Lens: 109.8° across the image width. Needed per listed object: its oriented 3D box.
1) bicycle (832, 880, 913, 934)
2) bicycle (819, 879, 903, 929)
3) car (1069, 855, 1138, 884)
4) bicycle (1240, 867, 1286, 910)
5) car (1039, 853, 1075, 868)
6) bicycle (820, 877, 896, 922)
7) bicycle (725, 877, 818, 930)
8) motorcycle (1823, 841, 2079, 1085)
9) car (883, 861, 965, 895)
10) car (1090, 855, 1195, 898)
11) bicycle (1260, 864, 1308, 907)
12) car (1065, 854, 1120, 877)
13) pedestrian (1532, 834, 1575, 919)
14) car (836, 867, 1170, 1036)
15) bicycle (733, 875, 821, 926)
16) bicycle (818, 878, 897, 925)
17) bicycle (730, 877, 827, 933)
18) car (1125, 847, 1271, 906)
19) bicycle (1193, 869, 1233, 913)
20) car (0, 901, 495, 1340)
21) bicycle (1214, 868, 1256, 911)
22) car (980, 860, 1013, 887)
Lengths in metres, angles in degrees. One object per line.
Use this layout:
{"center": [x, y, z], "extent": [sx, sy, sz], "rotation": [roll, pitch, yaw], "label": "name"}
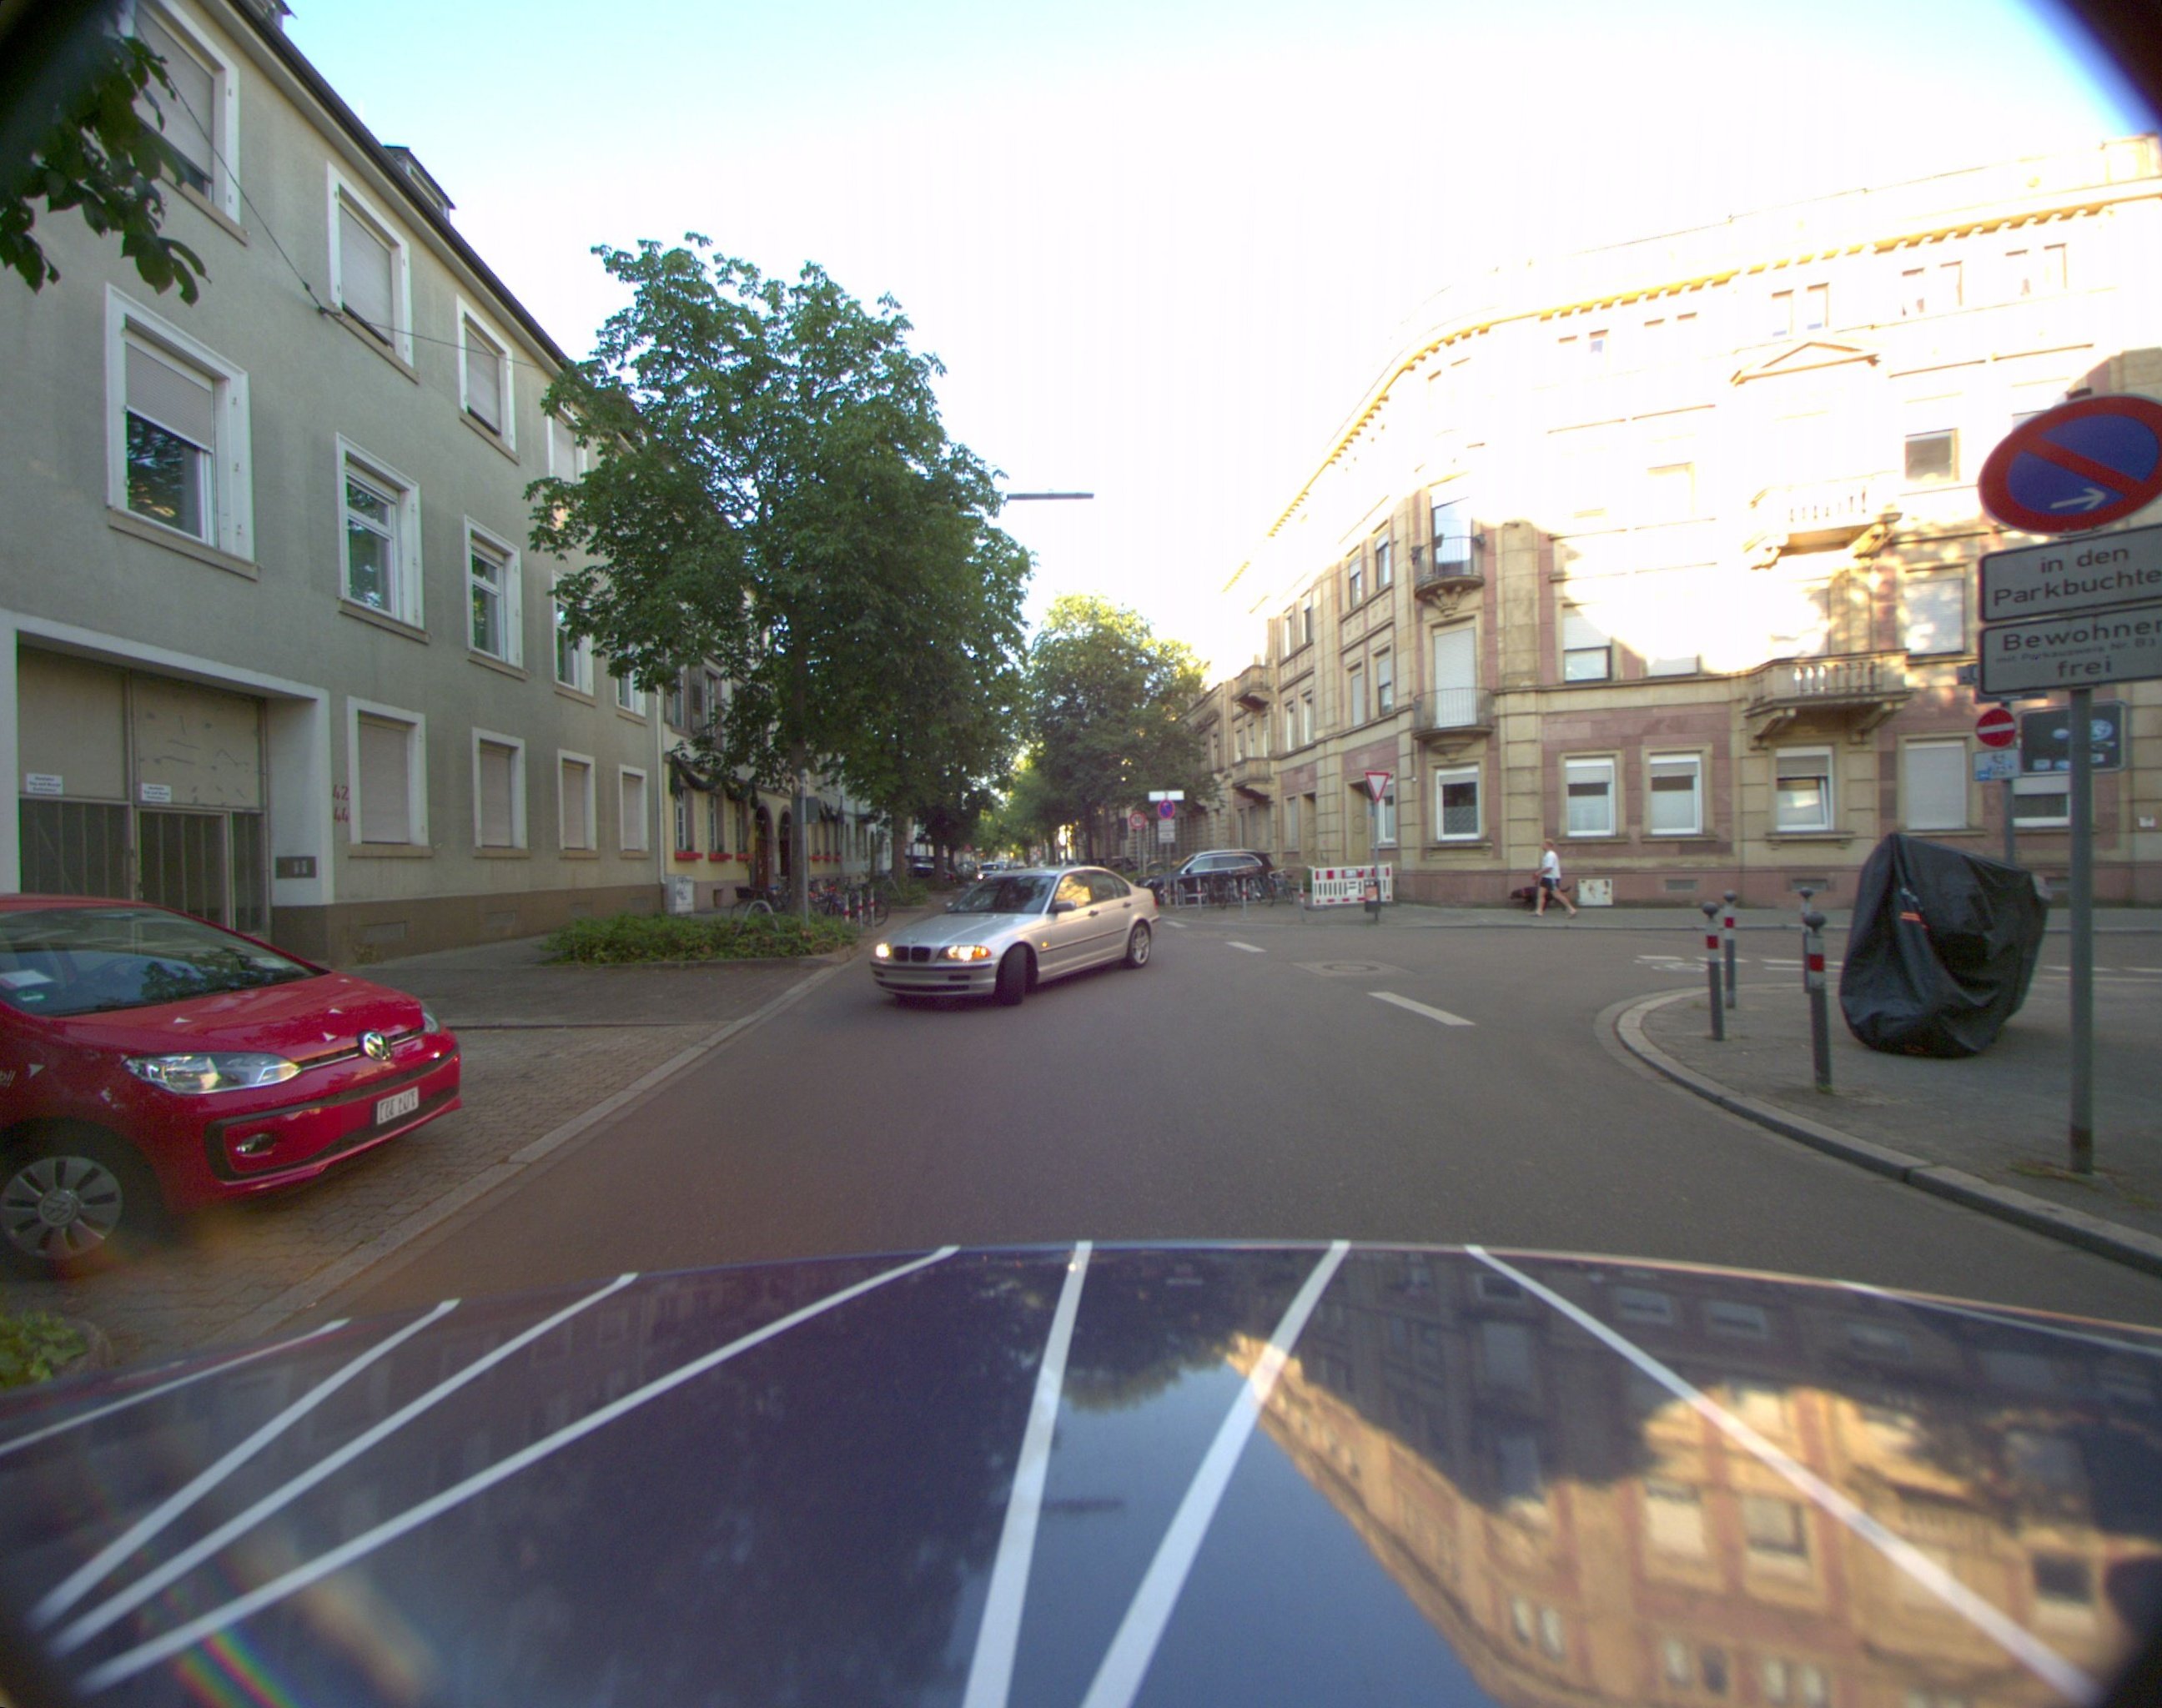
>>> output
{"center": [-5.037, 1.258, 18.403], "extent": [1.849, 1.220, 0.535], "rotation": [-1, 0, -16], "label": "bicycle"}
{"center": [-5.661, 1.284, 19.642], "extent": [2.029, 1.220, 0.535], "rotation": [-1, 0, -11], "label": "bicycle"}
{"center": [1.408, 0.964, 48.385], "extent": [4.245, 1.749, 1.741], "rotation": [-1, 0, -5], "label": "car"}
{"center": [5.175, 0.960, 21.775], "extent": [0.562, 1.144, 2.038], "rotation": [-1, 0, -8], "label": "bicycle"}
{"center": [-2.971, 0.769, 92.542], "extent": [4.245, 1.749, 1.741], "rotation": [-1, 0, -5], "label": "car"}
{"center": [-6.369, 1.289, 21.793], "extent": [2.029, 1.220, 0.535], "rotation": [-1, 0, -11], "label": "bicycle"}
{"center": [-7.494, 1.184, 18.456], "extent": [2.030, 1.220, 0.535], "rotation": [-1, 0, -16], "label": "bicycle"}
{"center": [6.497, 0.675, 5.642], "extent": [2.286, 1.496, 0.816], "rotation": [-1, 1, -30], "label": "motorcycle"}
{"center": [-8.556, 1.282, 41.674], "extent": [4.245, 1.729, 1.741], "rotation": [-1, 0, -6], "label": "car"}
{"center": [2.529, 0.921, 32.092], "extent": [4.243, 1.668, 1.742], "rotation": [-1, 0, -1], "label": "car"}
{"center": [5.794, 0.880, 21.824], "extent": [0.562, 1.144, 2.038], "rotation": [-1, 0, -8], "label": "bicycle"}
{"center": [0.861, 0.876, 60.855], "extent": [4.245, 1.749, 1.741], "rotation": [-1, 0, -5], "label": "car"}
{"center": [10.211, 0.482, 16.439], "extent": [0.650, 1.797, 0.574], "rotation": [-1, 1, 18], "label": "pedestrian"}
{"center": [-0.631, 0.939, 9.292], "extent": [1.708, 1.433, 4.444], "rotation": [-1, 0, 31], "label": "car"}
{"center": [-7.815, 1.184, 19.602], "extent": [2.029, 1.220, 0.535], "rotation": [-1, 0, -13], "label": "bicycle"}
{"center": [-6.128, 1.289, 20.923], "extent": [2.029, 1.220, 0.535], "rotation": [-1, 0, -11], "label": "bicycle"}
{"center": [-7.034, 1.174, 17.753], "extent": [2.030, 1.220, 0.535], "rotation": [-1, 0, -16], "label": "bicycle"}
{"center": [3.724, 0.697, 24.649], "extent": [4.423, 1.771, 1.742], "rotation": [-1, 0, -1], "label": "car"}
{"center": [3.743, 1.027, 21.664], "extent": [0.562, 1.144, 2.038], "rotation": [-1, 0, -6], "label": "bicycle"}
{"center": [-5.164, 1.042, 3.419], "extent": [3.621, 1.468, 1.663], "rotation": [-1, 0, -7], "label": "car"}
{"center": [4.382, 0.983, 21.733], "extent": [0.562, 1.144, 2.038], "rotation": [-1, 0, -6], "label": "bicycle"}
{"center": [-5.213, 1.193, 47.383], "extent": [1.806, 1.543, 3.998], "rotation": [-1, 0, -4], "label": "car"}
